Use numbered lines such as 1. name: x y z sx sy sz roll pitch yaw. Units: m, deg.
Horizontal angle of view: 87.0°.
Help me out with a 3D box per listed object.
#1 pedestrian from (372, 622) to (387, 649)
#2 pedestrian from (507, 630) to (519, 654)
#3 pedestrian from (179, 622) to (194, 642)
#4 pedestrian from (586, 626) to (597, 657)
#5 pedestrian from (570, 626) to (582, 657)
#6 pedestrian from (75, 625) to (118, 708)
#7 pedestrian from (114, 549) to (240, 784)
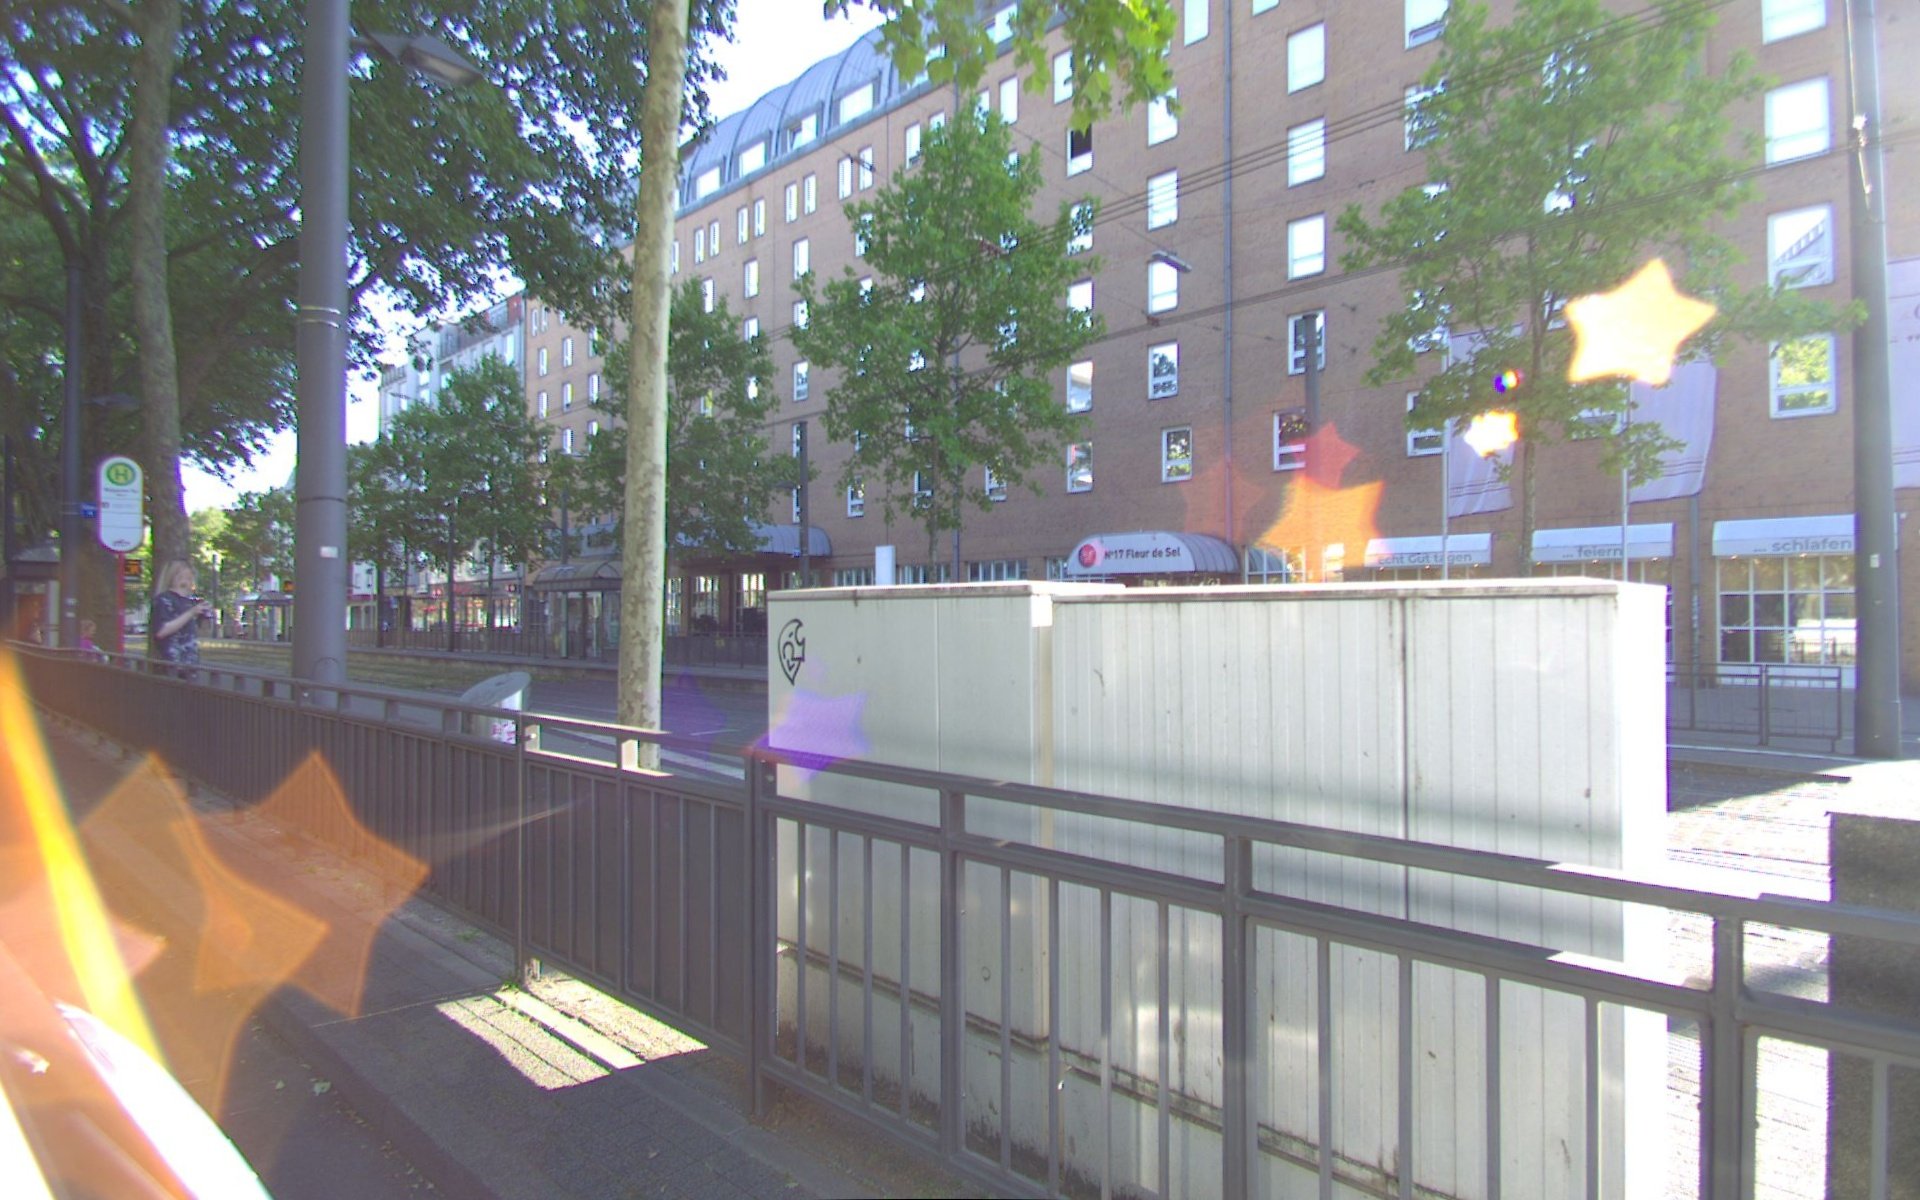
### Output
1. pedestrian: -44.683 2.725 77.936 0.763 2.029 0.796 -2 -2 41
2. pedestrian: -28.282 2.655 64.048 0.516 1.447 0.512 -2 -2 44
3. pedestrian: -77.973 3.202 102.066 1.047 2.029 1.001 -2 -3 43
4. pedestrian: -18.260 2.051 50.189 0.431 1.532 0.660 1 -2 -27
5. pedestrian: -18.886 2.040 49.778 0.431 1.518 0.660 1 -2 -27
6. pedestrian: -13.953 1.062 16.352 0.493 1.325 0.419 1 -2 -41
7. pedestrian: -6.637 0.532 8.589 0.619 1.897 0.602 1 0 22
